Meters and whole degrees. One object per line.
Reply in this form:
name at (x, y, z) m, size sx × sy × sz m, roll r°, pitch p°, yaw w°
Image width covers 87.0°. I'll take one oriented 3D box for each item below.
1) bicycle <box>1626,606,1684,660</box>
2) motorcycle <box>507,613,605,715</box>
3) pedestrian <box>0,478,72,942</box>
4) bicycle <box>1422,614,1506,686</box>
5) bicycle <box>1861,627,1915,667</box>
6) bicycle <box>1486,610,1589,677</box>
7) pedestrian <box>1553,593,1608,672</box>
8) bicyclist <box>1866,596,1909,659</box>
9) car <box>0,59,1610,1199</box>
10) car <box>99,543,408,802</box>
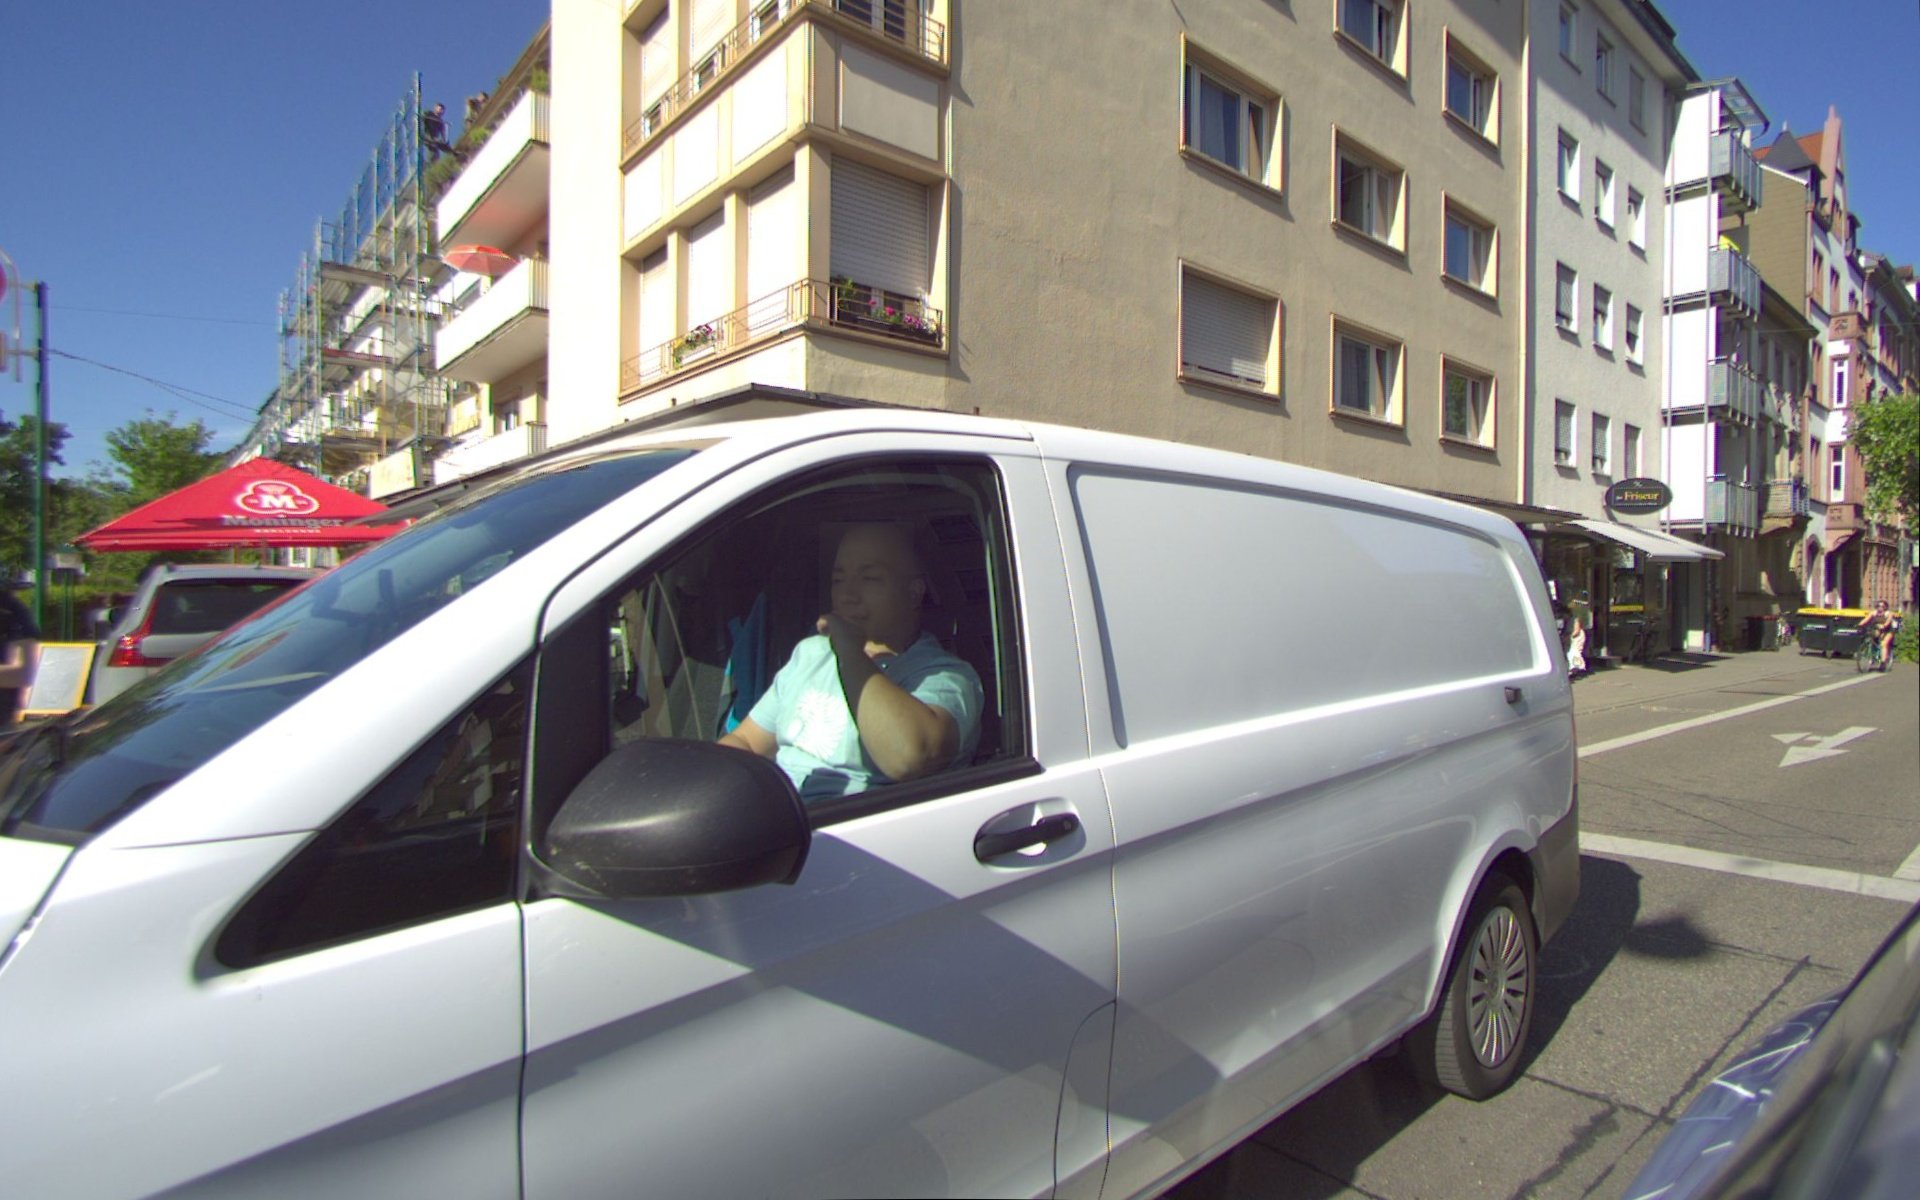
bicycle at (15.878, 0.732, 23.106) m, size 1.742 × 1.157 × 0.598 m, roll 0°, pitch 3°, yaw -40°
motorcycle at (-5.219, 0.784, 13.194) m, size 0.556 × 1.181 × 2.015 m, roll 0°, pitch 0°, yaw -3°
pedestrian at (-4.121, 0.435, 4.144) m, size 0.624 × 1.845 × 0.598 m, roll 1°, pitch 0°, yaw 35°
bicycle at (8.280, 0.804, 16.601) m, size 1.766 × 1.098 × 0.408 m, roll 0°, pitch 3°, yaw -35°
bicycle at (21.120, 1.055, 23.022) m, size 1.677 × 0.816 × 0.583 m, roll 0°, pitch 0°, yaw -36°
bicycle at (10.357, 0.760, 18.203) m, size 1.475 × 1.120 × 0.719 m, roll 1°, pitch 0°, yaw 19°
pedestrian at (11.937, 0.607, 19.462) m, size 0.615 × 1.460 × 0.774 m, roll 0°, pitch 0°, yaw -45°
bicyclist at (21.070, 0.618, 22.987) m, size 0.652 × 1.394 × 0.583 m, roll 0°, pitch 0°, yaw -35°
car at (-0.152, 0.454, 2.698) m, size 4.749 × 1.833 × 1.971 m, roll -1°, pitch 1°, yaw -42°
car at (-6.169, 0.444, 8.714) m, size 1.793 × 1.683 × 3.996 m, roll 0°, pitch 1°, yaw -39°
